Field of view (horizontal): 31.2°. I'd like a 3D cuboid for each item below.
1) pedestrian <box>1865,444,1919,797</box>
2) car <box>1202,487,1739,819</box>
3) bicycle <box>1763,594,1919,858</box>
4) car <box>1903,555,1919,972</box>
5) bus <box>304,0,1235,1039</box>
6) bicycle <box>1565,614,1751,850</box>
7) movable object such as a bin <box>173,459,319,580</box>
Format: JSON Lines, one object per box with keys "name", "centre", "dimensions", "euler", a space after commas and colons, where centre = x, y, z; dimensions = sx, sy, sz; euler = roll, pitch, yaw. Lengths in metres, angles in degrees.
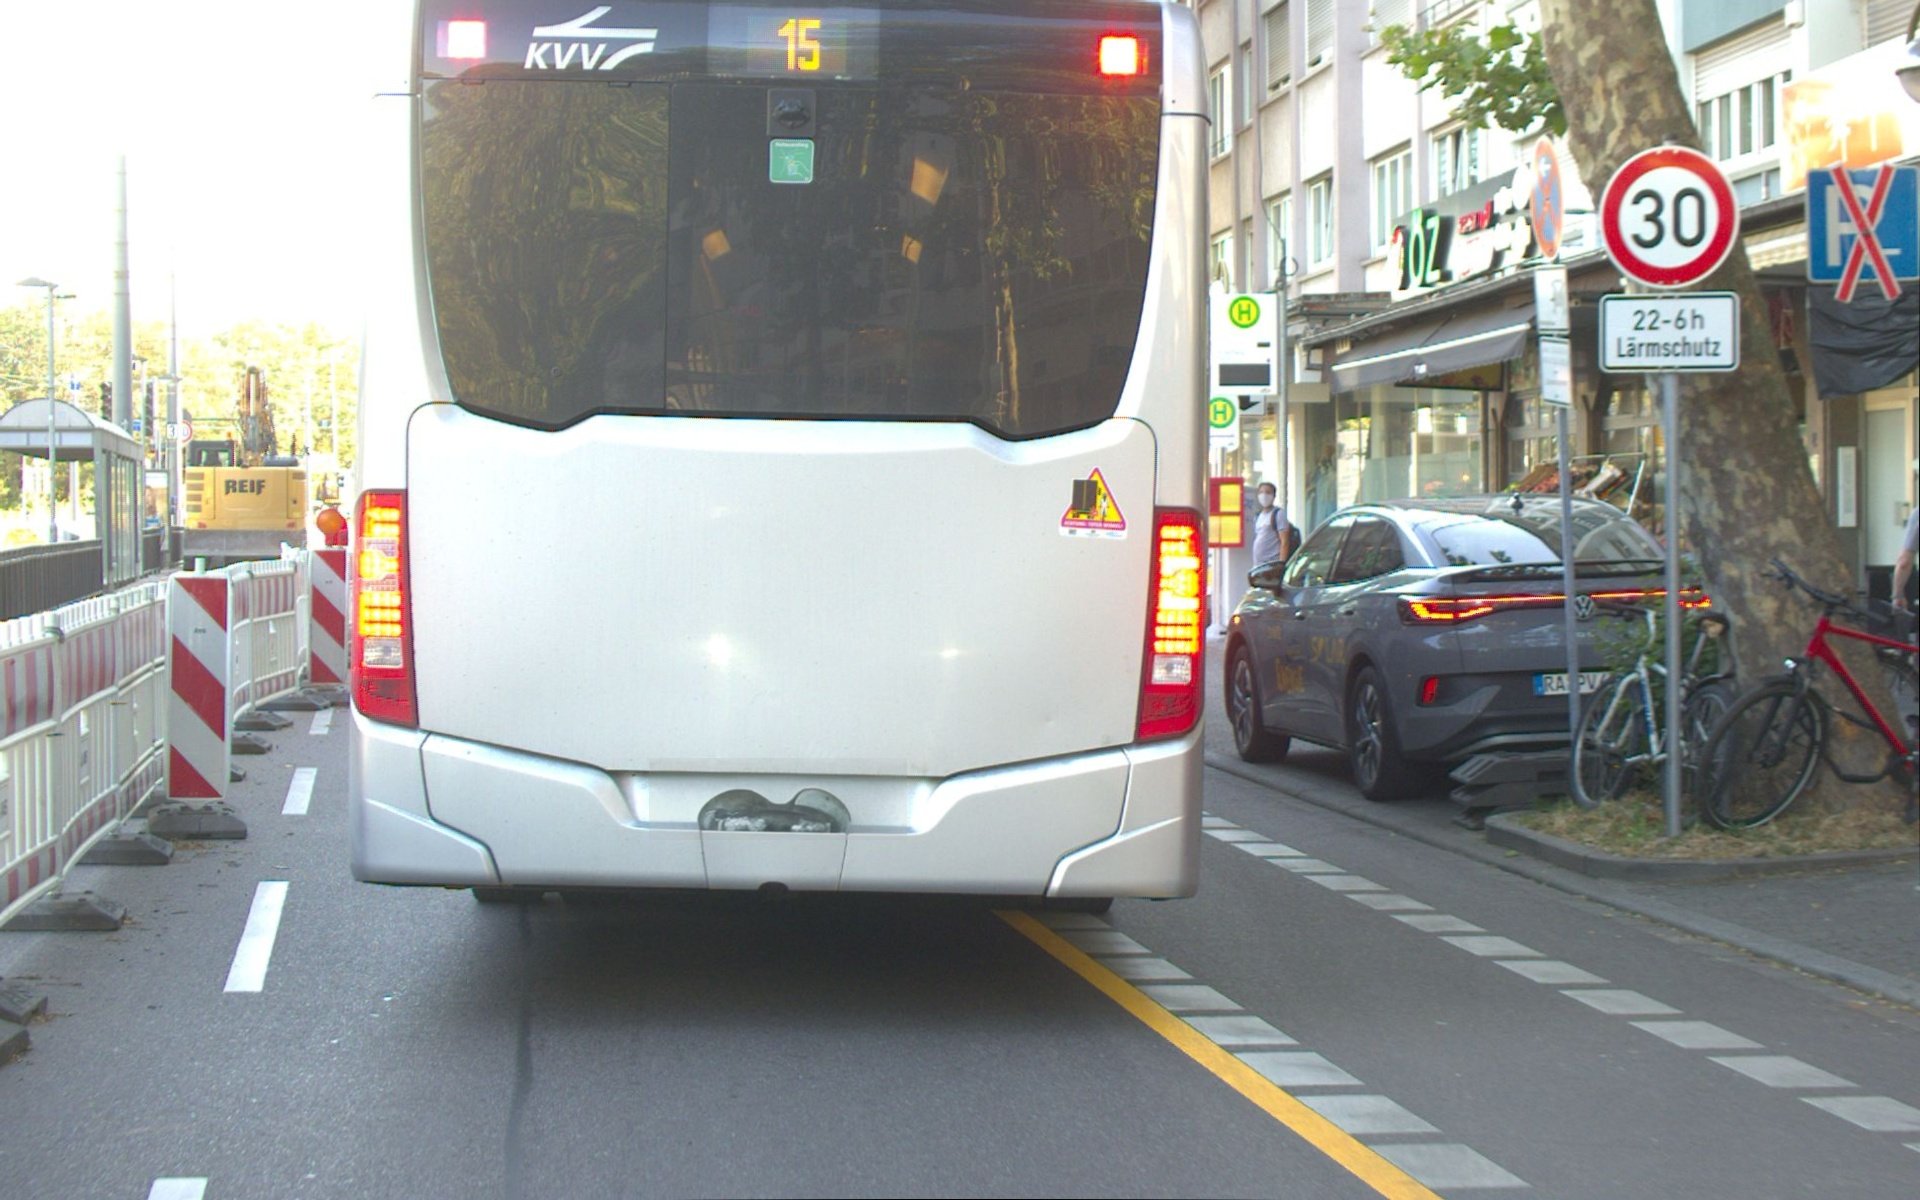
{"name": "pedestrian", "centre": [5.709, 0.108, 19.910], "dimensions": [0.690, 2.007, 0.696], "euler": [-1, 1, -7]}
{"name": "car", "centre": [2.742, 0.207, 19.502], "dimensions": [1.739, 1.592, 4.300], "euler": [-3, 2, -9]}
{"name": "bicycle", "centre": [4.214, 0.512, 14.654], "dimensions": [1.460, 1.063, 0.295], "euler": [-4, 5, 7]}
{"name": "car", "centre": [4.378, 0.568, 9.989], "dimensions": [1.666, 1.424, 3.849], "euler": [-3, 2, -9]}
{"name": "bus", "centre": [-0.773, -0.451, 14.849], "dimensions": [2.608, 3.159, 10.293], "euler": [0, 1, -3]}
{"name": "bicycle", "centre": [3.108, 0.572, 15.377], "dimensions": [0.294, 0.924, 1.131], "euler": [-5, 5, -15]}
{"name": "movable object such as a bin", "centre": [-14.850, -1.685, 71.754], "dimensions": [2.806, 2.453, 4.001], "euler": [0, 2, -9]}
